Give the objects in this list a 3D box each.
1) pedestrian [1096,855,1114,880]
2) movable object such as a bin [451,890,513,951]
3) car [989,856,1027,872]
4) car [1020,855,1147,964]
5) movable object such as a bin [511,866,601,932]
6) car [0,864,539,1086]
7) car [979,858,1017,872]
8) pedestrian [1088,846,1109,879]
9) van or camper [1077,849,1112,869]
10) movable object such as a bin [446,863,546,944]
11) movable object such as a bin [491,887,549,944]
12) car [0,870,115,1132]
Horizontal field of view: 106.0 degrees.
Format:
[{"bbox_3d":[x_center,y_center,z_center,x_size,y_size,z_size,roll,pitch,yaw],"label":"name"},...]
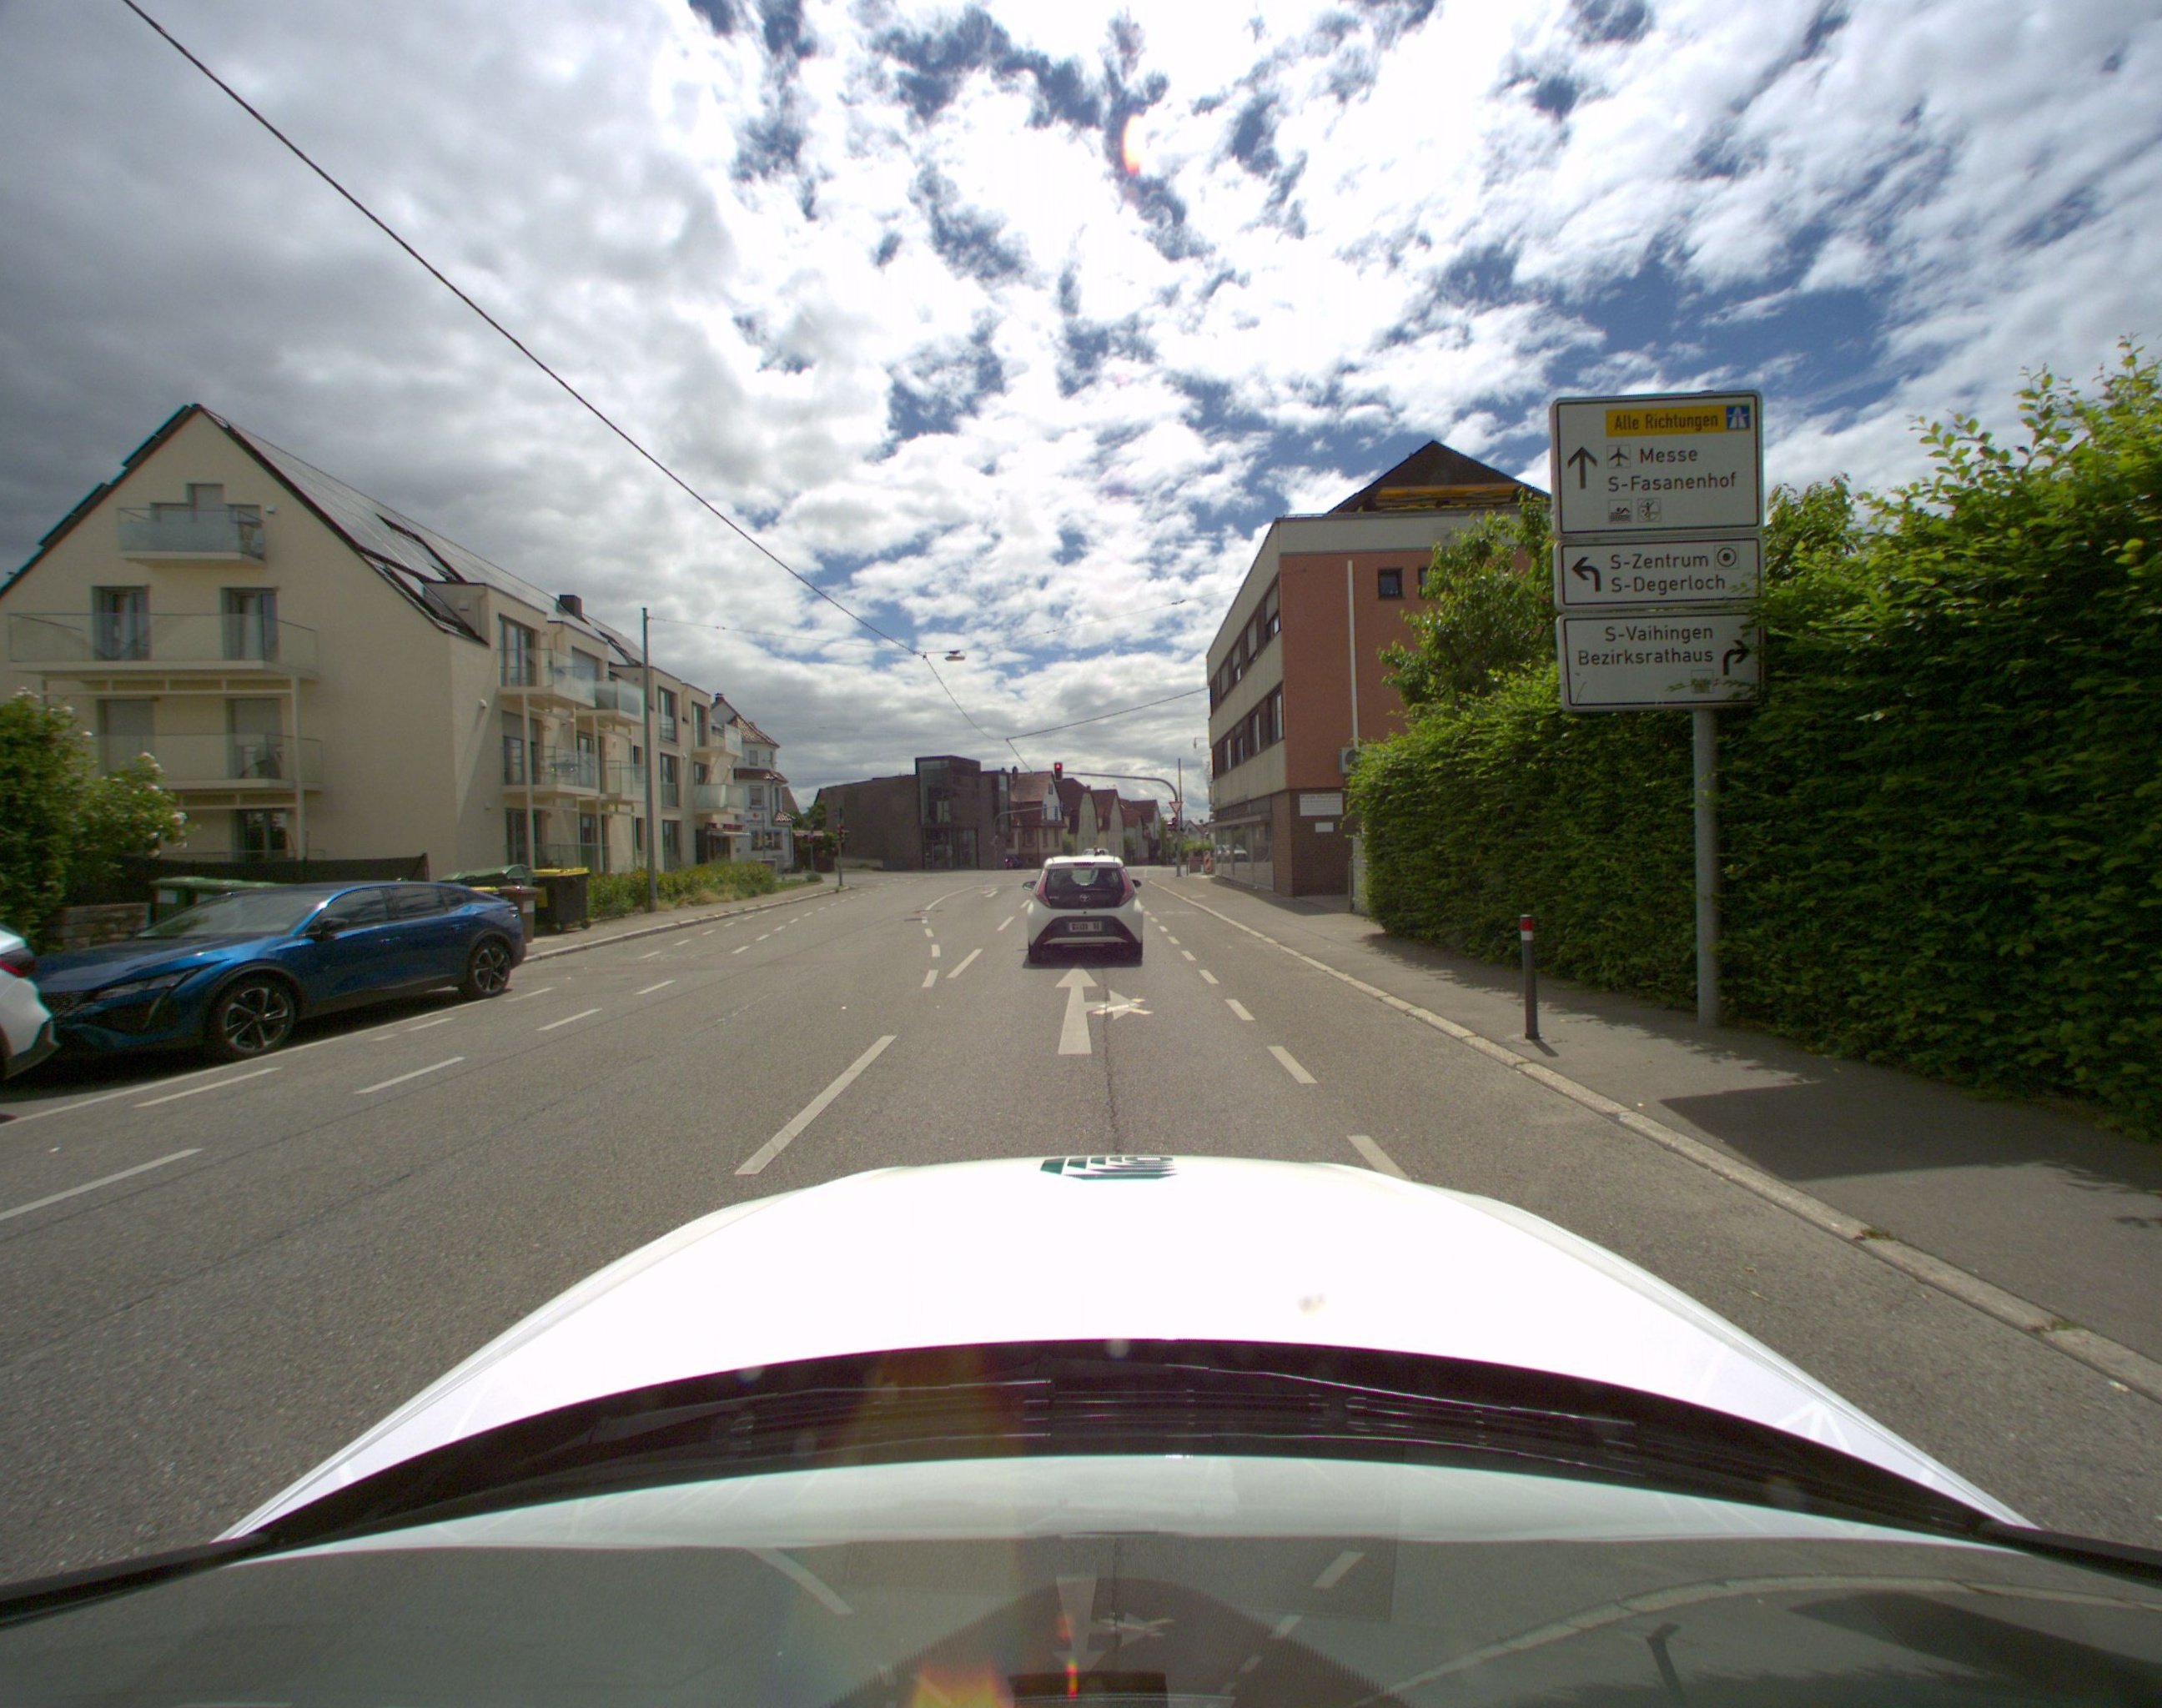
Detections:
[{"bbox_3d":[1.251,0.689,42.053,0.736,1.221,0.641,-1,0,-23],"label":"pedestrian"},{"bbox_3d":[-10.701,1.174,14.565,0.593,1.024,0.659,-1,0,1],"label":"movable object such as a bin"},{"bbox_3d":[-7.794,1.076,87.126,3.590,1.605,1.697,0,0,12],"label":"car"},{"bbox_3d":[0.016,0.744,12.511,1.692,1.456,3.297,0,0,-1],"label":"car"},{"bbox_3d":[-11.147,0.940,17.347,1.061,1.313,1.215,-1,0,2],"label":"movable object such as a bin"},{"bbox_3d":[-8.091,0.951,8.379,1.987,1.587,4.488,-2,0,-1],"label":"car"},{"bbox_3d":[-8.588,1.158,84.425,3.590,1.419,1.697,0,0,12],"label":"car"},{"bbox_3d":[0.915,0.449,42.715,0.826,1.721,0.811,-1,0,-23],"label":"pedestrian"},{"bbox_3d":[1.398,0.472,81.096,2.099,1.926,5.307,0,0,16],"label":"van or camper"},{"bbox_3d":[-11.523,0.947,16.102,1.062,1.482,1.214,-1,0,-1],"label":"movable object such as a bin"},{"bbox_3d":[-10.476,1.143,15.233,0.593,1.007,0.659,-1,0,1],"label":"movable object such as a bin"},{"bbox_3d":[-7.906,0.971,3.513,1.986,1.650,4.518,-2,0,1],"label":"car"}]
